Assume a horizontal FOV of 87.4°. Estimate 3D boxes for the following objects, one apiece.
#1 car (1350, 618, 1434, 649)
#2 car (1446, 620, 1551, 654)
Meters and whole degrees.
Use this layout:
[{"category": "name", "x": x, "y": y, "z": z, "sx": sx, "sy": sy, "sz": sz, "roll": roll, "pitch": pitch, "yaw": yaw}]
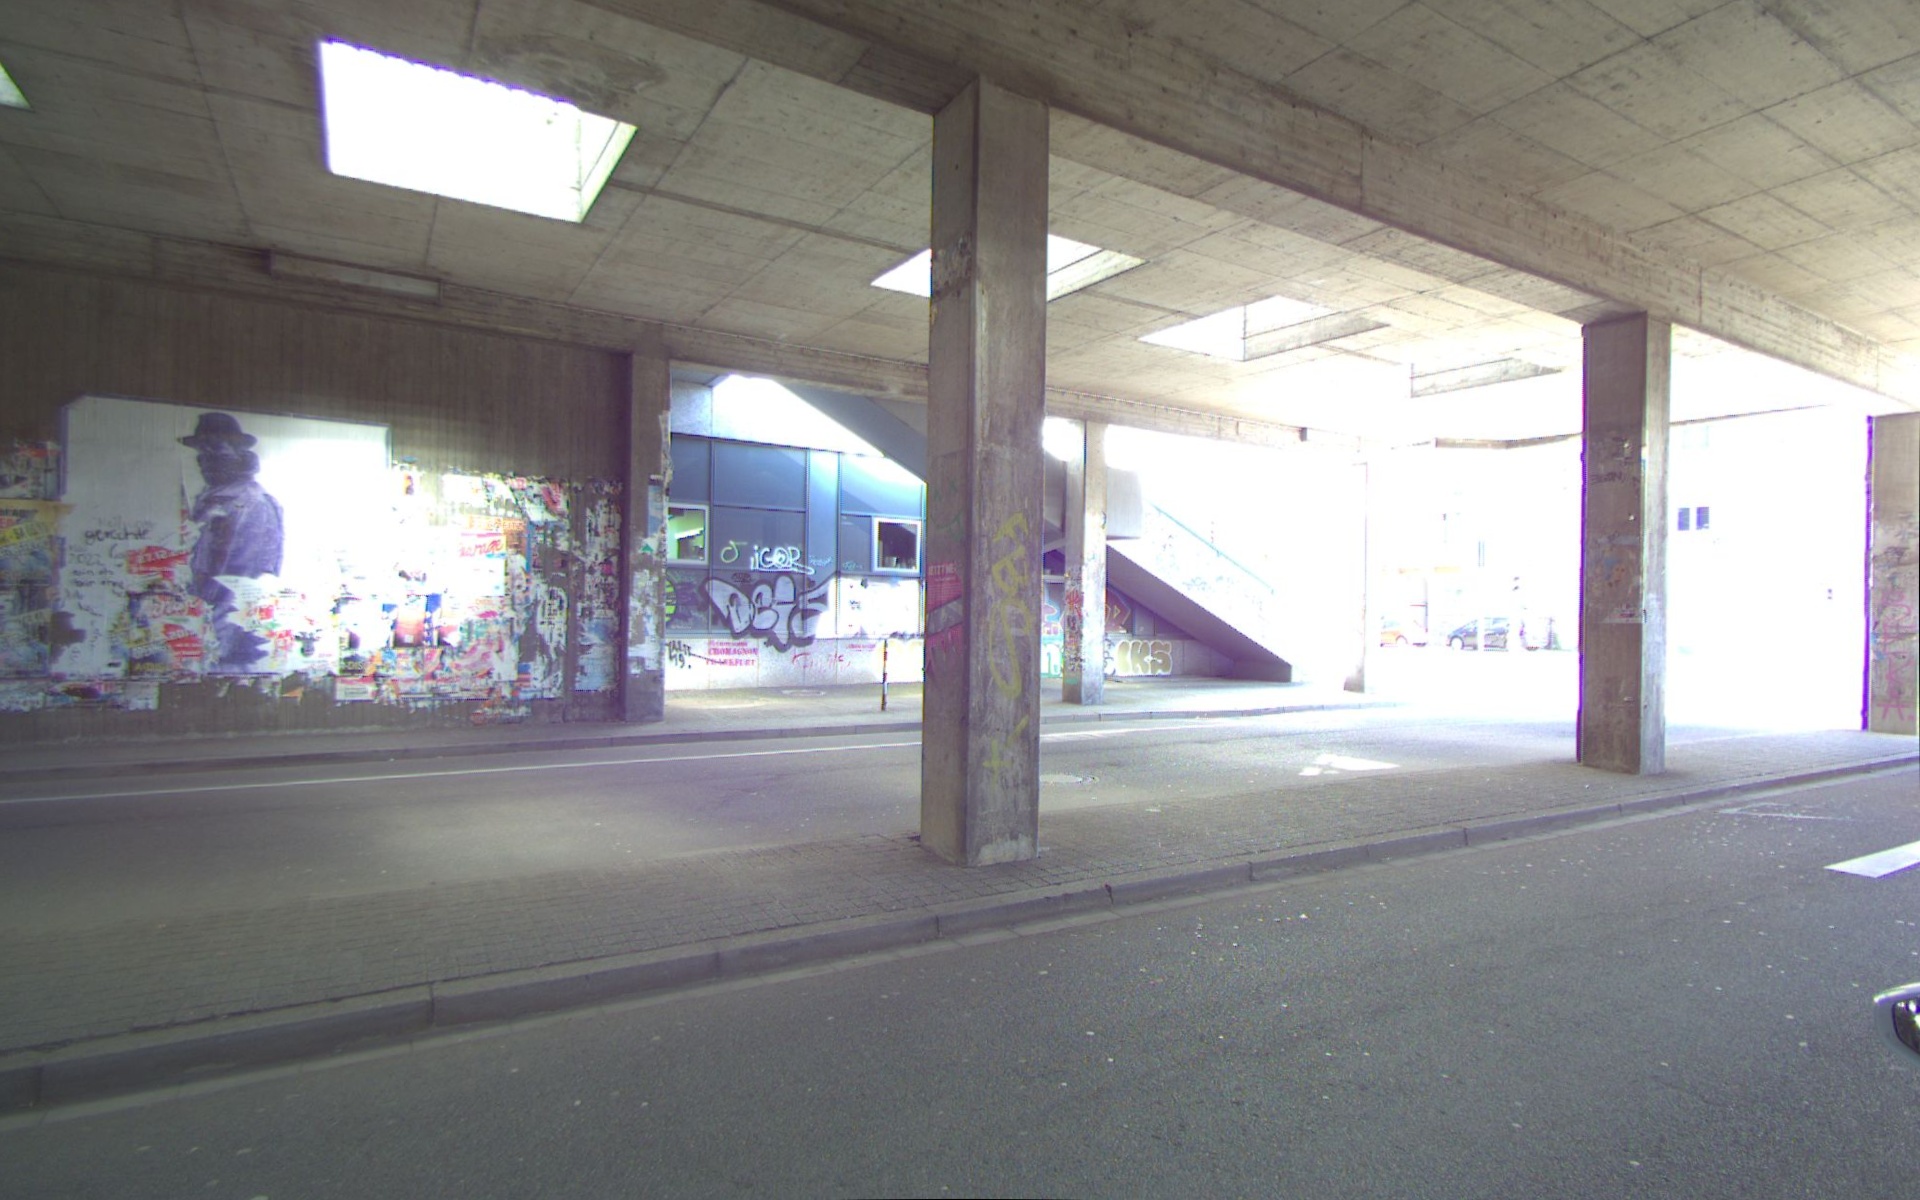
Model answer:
[{"category": "car", "x": 22.561, "y": 1.755, "z": 52.613, "sx": 1.730, "sy": 1.495, "sz": 3.741, "roll": 2, "pitch": -1, "yaw": -31}, {"category": "car", "x": 25.473, "y": 1.732, "z": 47.658, "sx": 1.718, "sy": 1.495, "sz": 4.089, "roll": 2, "pitch": -1, "yaw": -31}]
